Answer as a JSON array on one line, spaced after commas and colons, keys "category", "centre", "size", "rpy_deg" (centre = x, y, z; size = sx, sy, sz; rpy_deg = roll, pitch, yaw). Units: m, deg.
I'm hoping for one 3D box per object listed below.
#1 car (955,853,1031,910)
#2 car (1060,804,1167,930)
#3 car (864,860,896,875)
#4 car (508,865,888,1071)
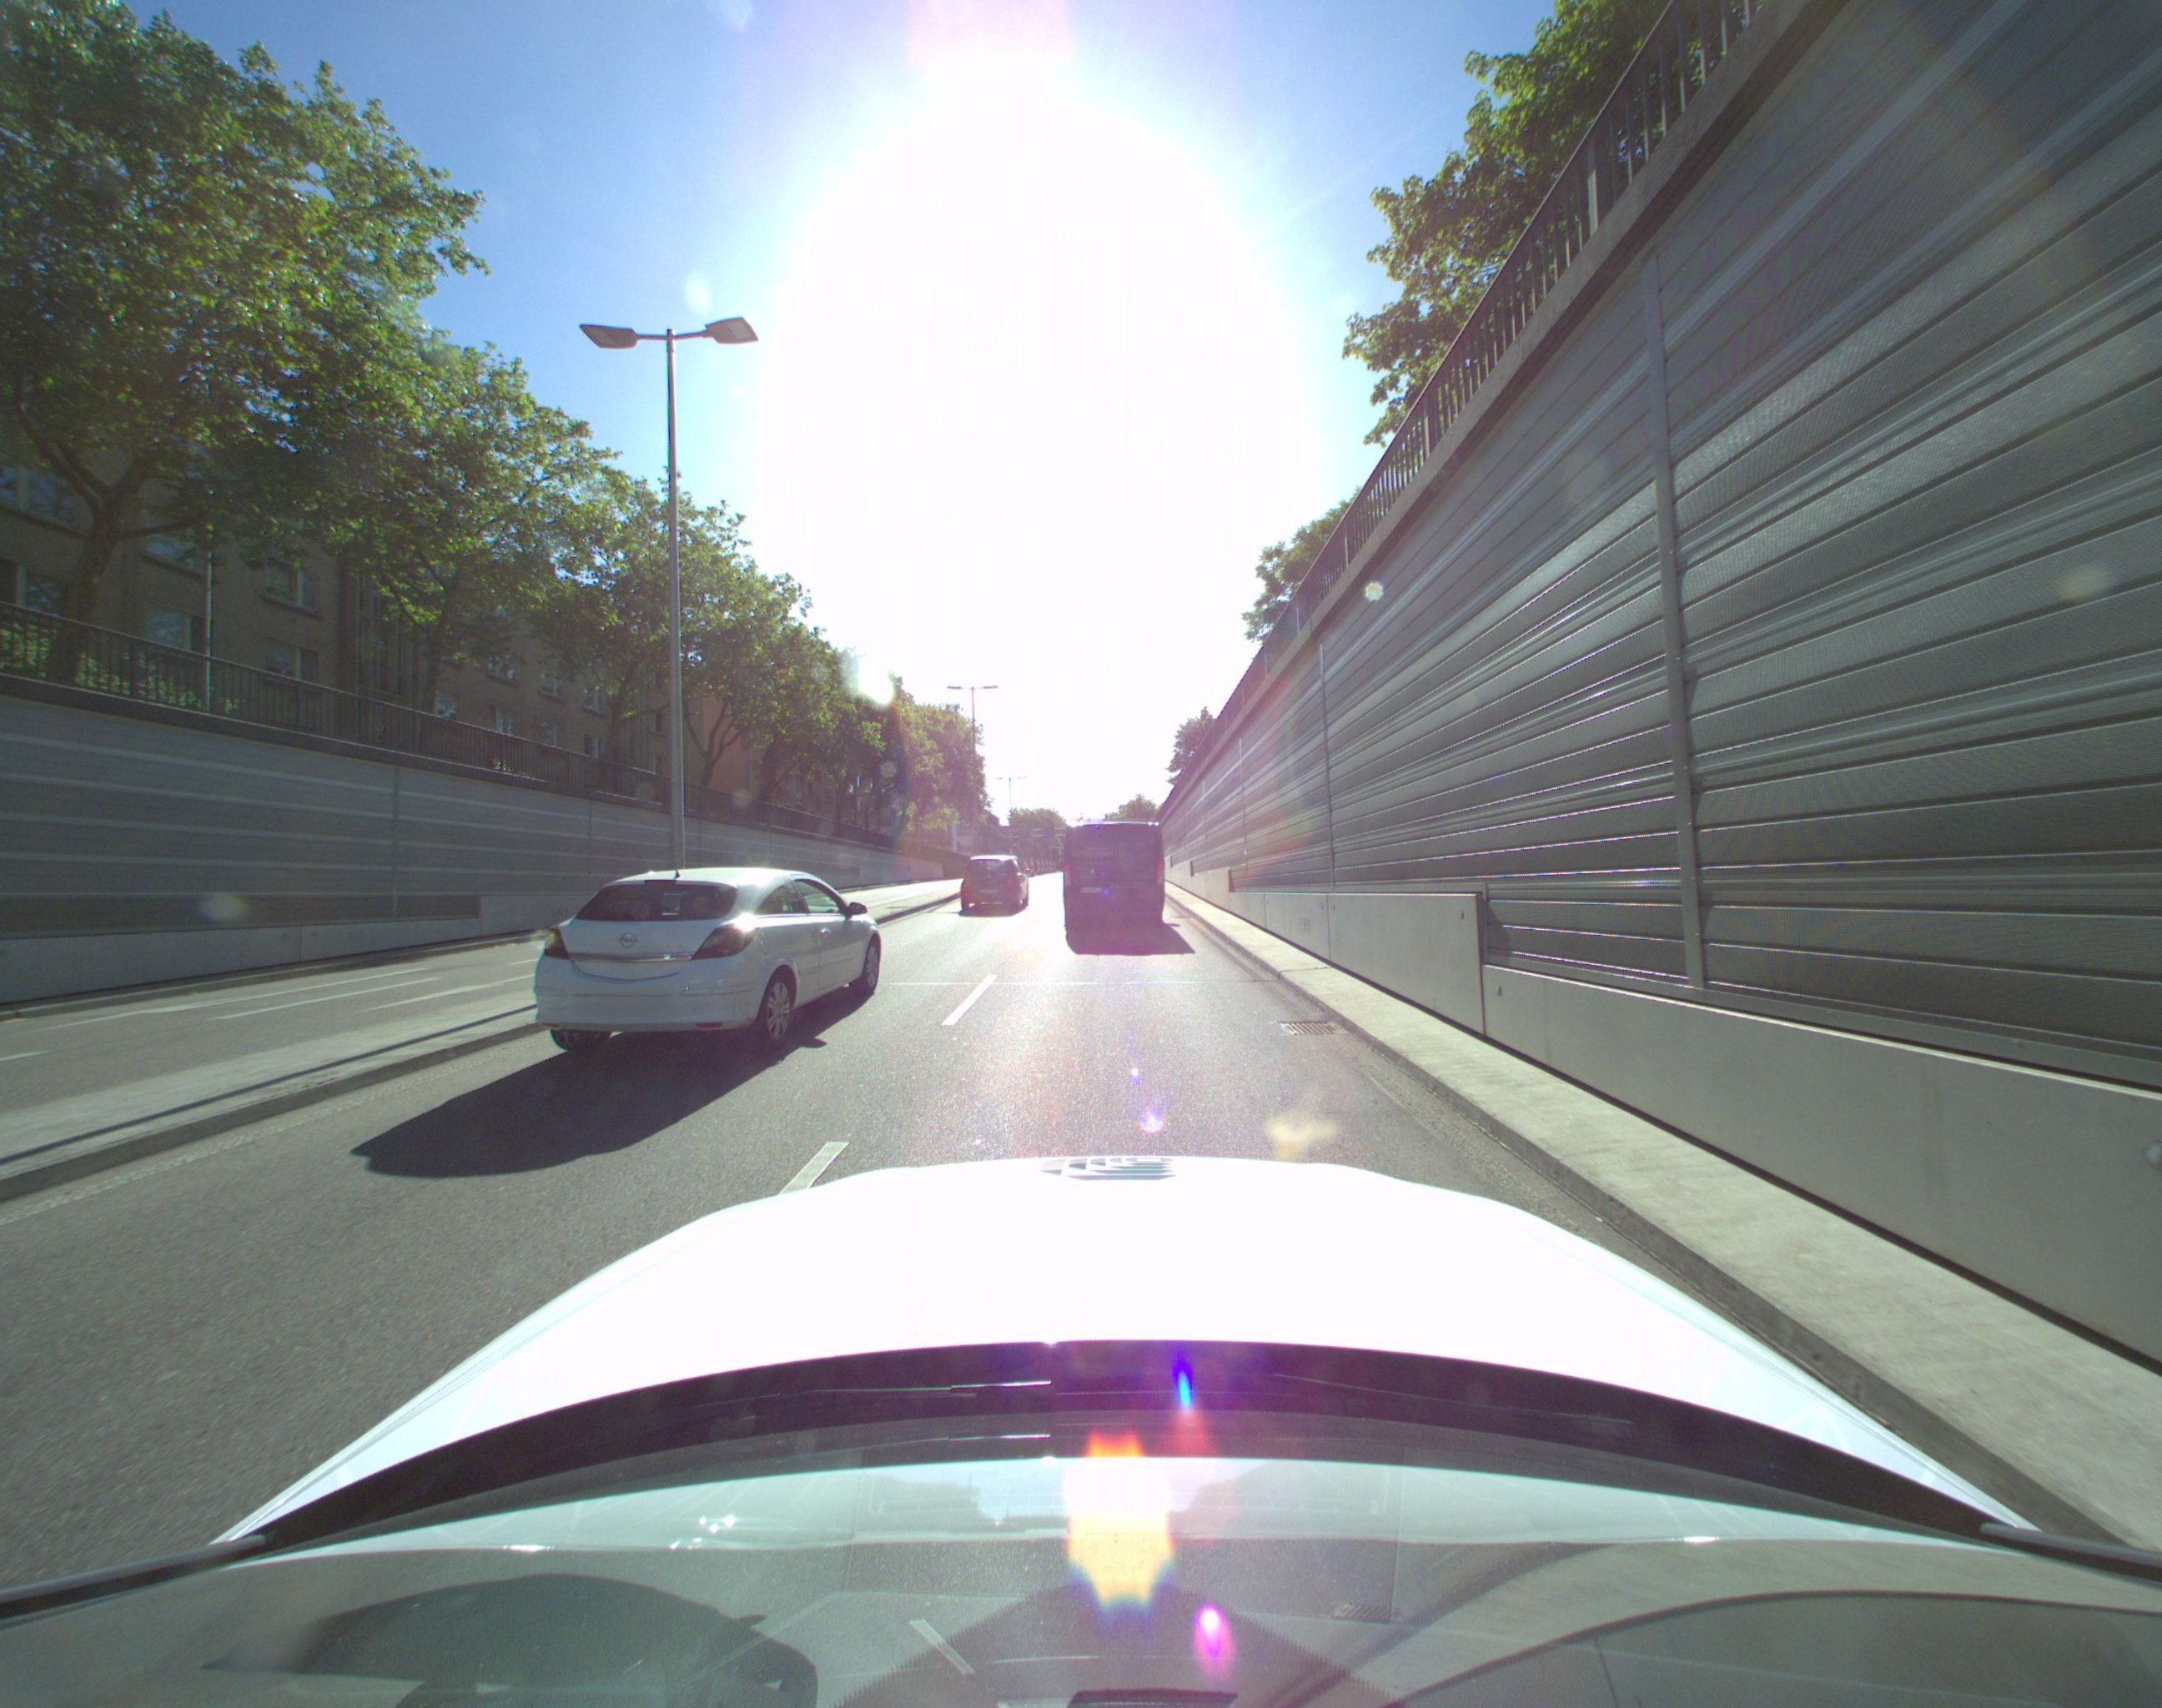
[{"category": "car", "centre": [-2.424, 0.730, 23.134], "size": [1.683, 1.483, 3.319], "rpy_deg": [-1, 0, 1]}, {"category": "car", "centre": [0.696, 0.275, 17.875], "size": [2.022, 2.402, 3.974], "rpy_deg": [-1, -1, 2]}, {"category": "car", "centre": [-19.805, 1.346, 80.504], "size": [1.986, 1.389, 4.173], "rpy_deg": [-1, -2, 2]}, {"category": "car", "centre": [-3.108, 0.810, 7.555], "size": [1.613, 1.403, 3.853], "rpy_deg": [-1, -1, 1]}]
